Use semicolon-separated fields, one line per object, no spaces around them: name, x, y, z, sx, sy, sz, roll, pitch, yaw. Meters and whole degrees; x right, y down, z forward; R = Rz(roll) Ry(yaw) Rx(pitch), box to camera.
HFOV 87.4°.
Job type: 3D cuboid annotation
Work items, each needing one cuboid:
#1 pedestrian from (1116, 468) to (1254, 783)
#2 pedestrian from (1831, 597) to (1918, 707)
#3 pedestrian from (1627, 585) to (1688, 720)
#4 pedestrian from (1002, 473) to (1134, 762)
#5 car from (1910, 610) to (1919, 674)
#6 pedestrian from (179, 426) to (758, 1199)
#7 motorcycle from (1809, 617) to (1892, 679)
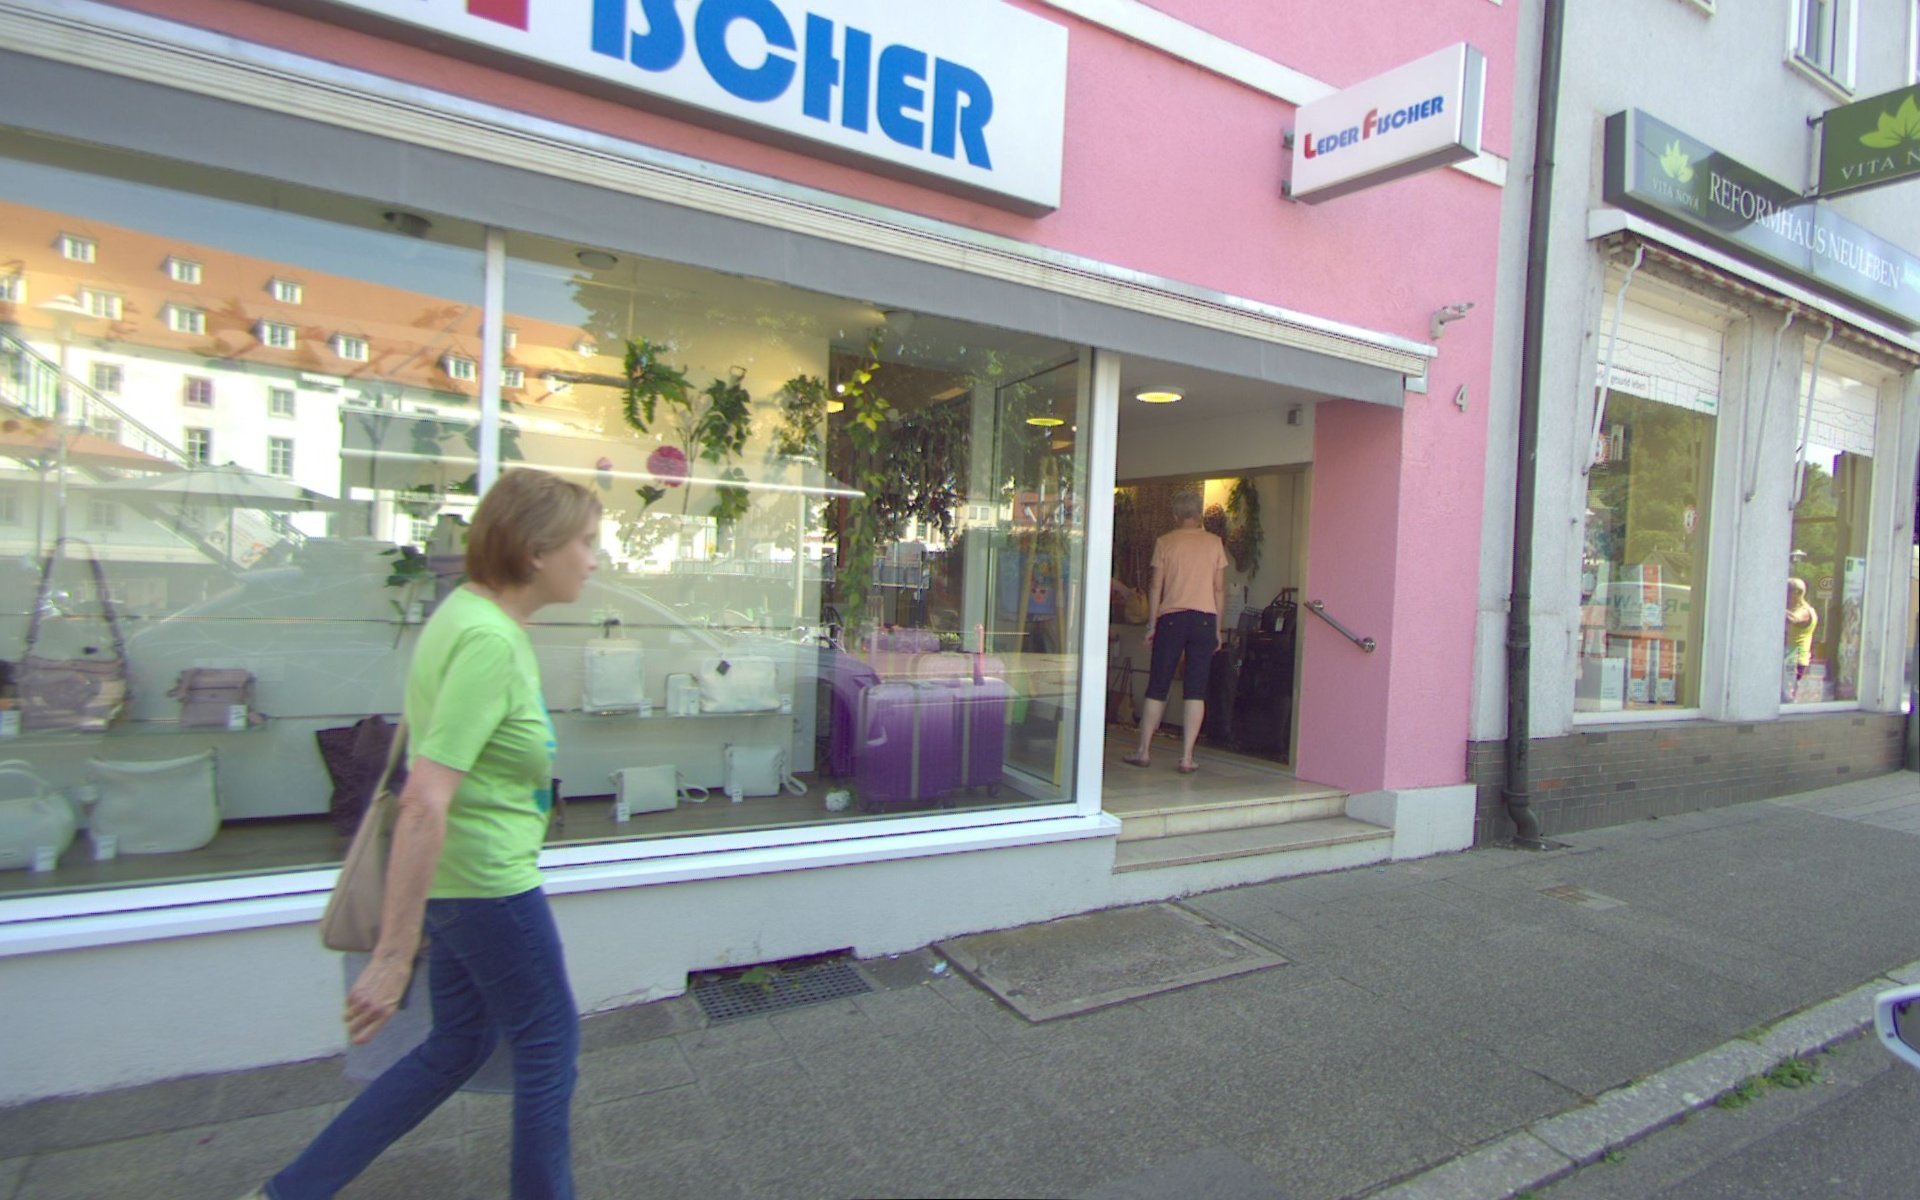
pedestrian;1.341;0.130;5.982;0.701;1.745;0.675;2;1;14
pedestrian;14.822;0.832;16.288;0.869;1.680;0.570;5;1;-16
pedestrian;10.784;0.791;15.527;0.643;2.011;0.704;3;1;40
pedestrian;0.694;0.102;6.461;0.566;1.745;0.568;1;1;-45
car;23.928;1.127;22.987;1.887;1.564;3.955;3;3;24
pedestrian;-0.966;0.556;2.049;0.848;1.654;0.782;1;4;-28
motorcycle;21.656;1.130;24.420;2.063;1.379;0.881;-1;2;-31
